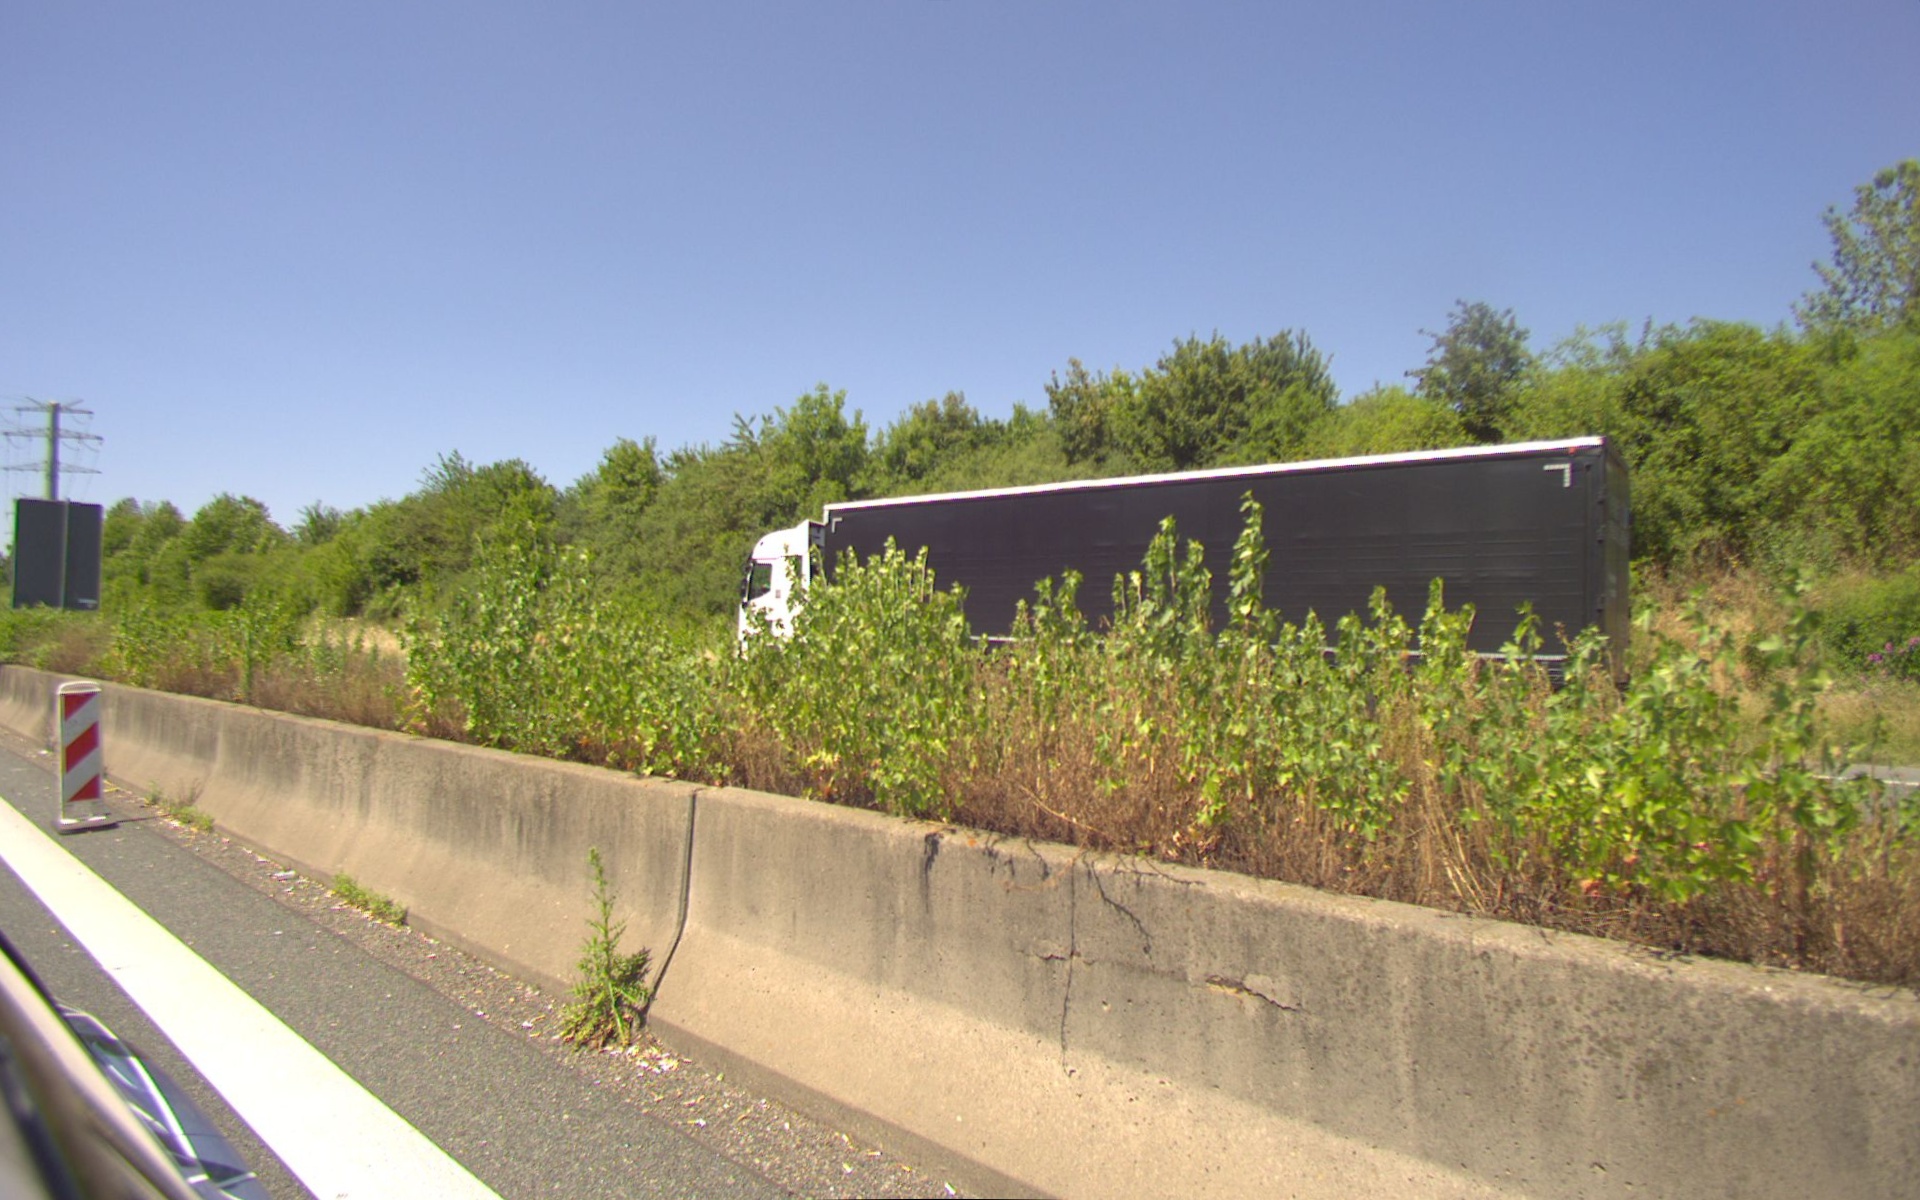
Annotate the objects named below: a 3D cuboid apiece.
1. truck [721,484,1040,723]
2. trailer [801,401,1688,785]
[{"bbox_3d":[-1.782,0.190,20.899,6.406,4.199,2.723,-1,-5,40],"label":"truck"},{"bbox_3d":[3.159,0.097,16.693,14.186,4.199,2.724,-1,-5,40],"label":"trailer"}]
